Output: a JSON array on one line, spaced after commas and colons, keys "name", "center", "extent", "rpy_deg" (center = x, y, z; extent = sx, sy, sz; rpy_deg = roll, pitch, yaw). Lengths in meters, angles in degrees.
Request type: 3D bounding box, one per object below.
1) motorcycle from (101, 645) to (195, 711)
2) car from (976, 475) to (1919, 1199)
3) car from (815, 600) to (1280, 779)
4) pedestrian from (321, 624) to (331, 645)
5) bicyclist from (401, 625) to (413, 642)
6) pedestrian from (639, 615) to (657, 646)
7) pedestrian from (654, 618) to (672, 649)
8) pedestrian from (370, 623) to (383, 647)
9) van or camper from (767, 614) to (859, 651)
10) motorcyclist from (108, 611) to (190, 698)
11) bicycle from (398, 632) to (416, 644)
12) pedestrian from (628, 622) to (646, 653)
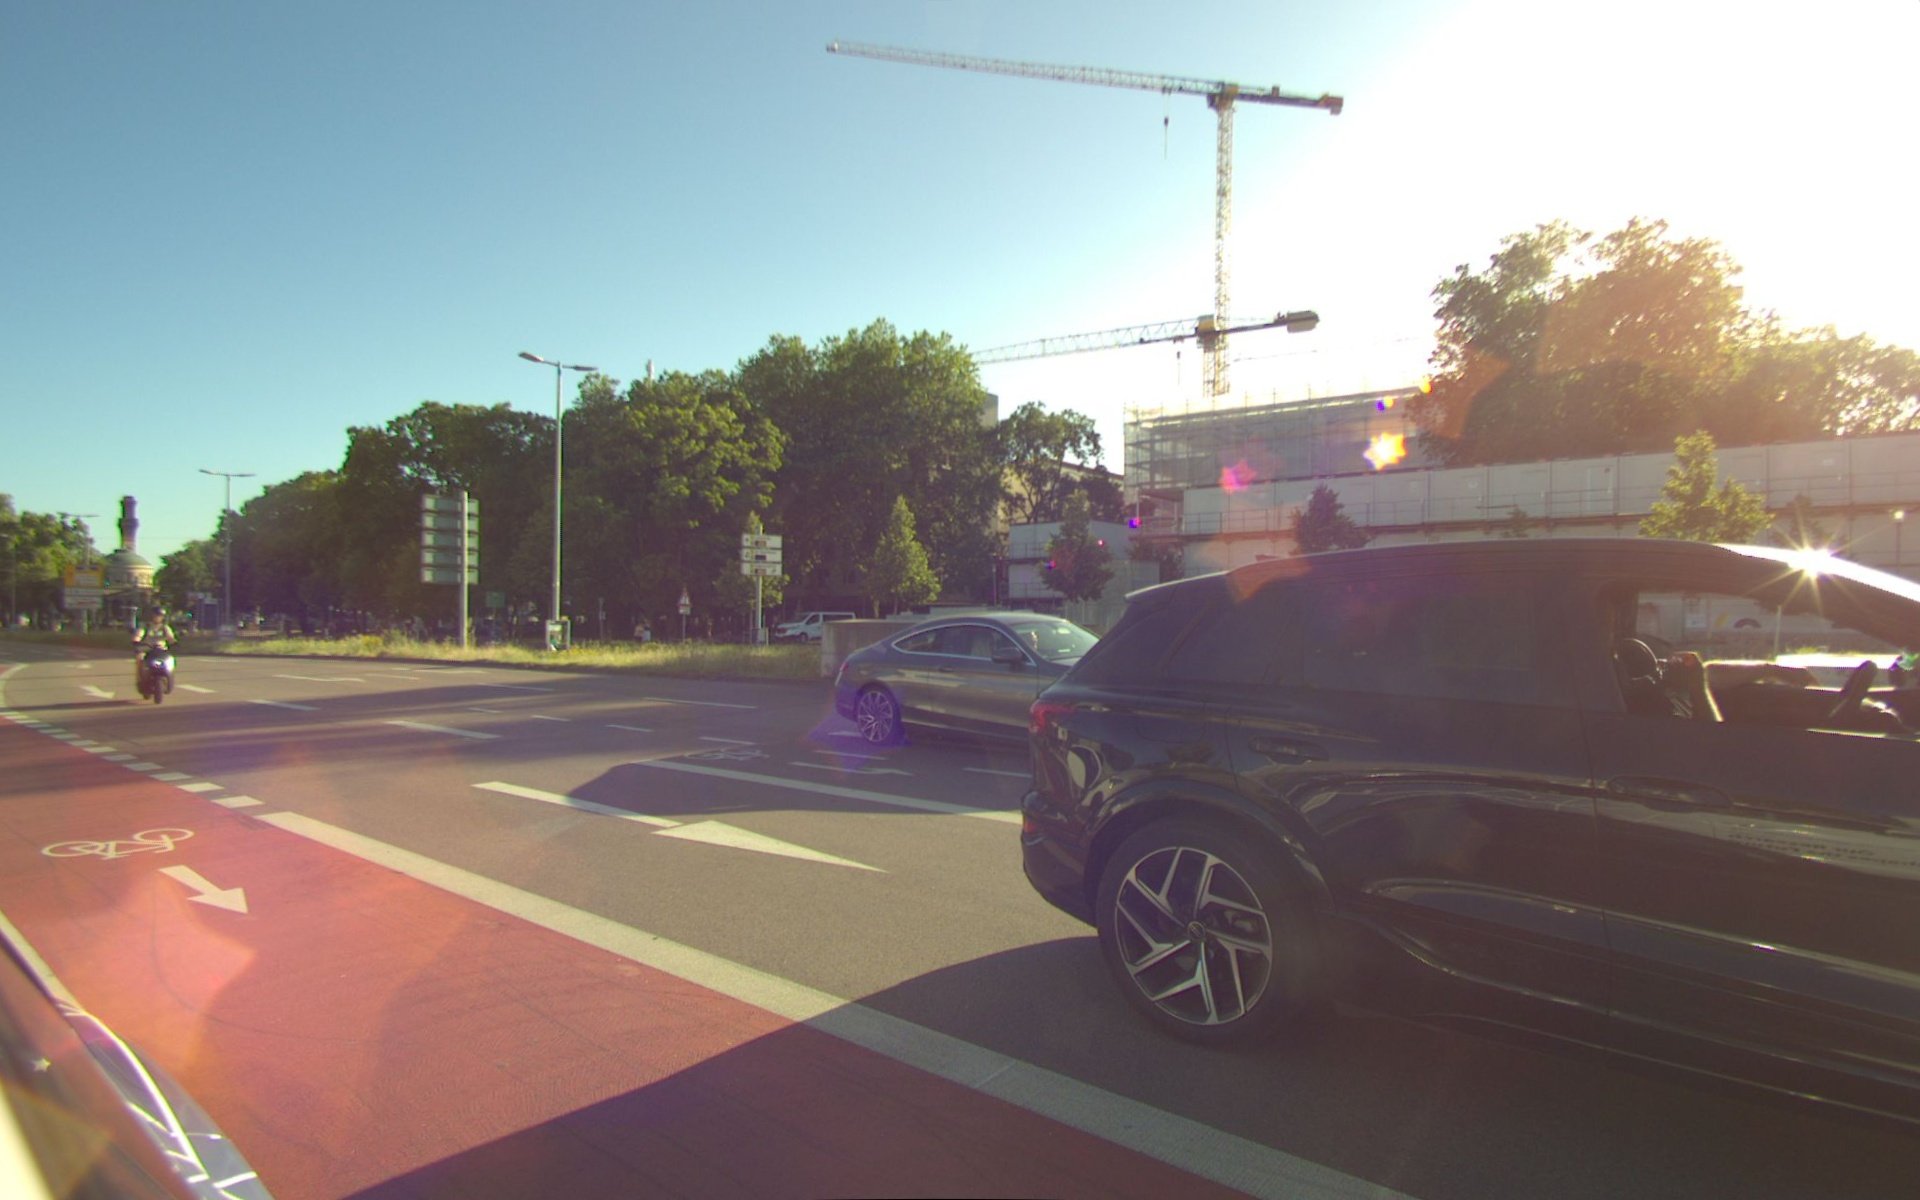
[{"name": "motorcycle", "center": [-14.189, 1.324, 17.660], "extent": [2.267, 1.022, 0.961], "rpy_deg": [-1, -1, 43]}, {"name": "car", "center": [2.451, 0.571, 3.104], "extent": [4.610, 1.656, 1.914], "rpy_deg": [-1, -1, 38]}, {"name": "car", "center": [0.727, 0.761, 10.418], "extent": [4.487, 1.417, 1.972], "rpy_deg": [-1, 0, 42]}, {"name": "pedestrian", "center": [-56.303, 3.024, 89.912], "extent": [0.733, 1.862, 0.561], "rpy_deg": [-1, -2, 40]}, {"name": "bicyclist", "center": [-42.213, 2.563, 77.230], "extent": [0.714, 1.291, 0.603], "rpy_deg": [-1, -2, 40]}, {"name": "pedestrian", "center": [-17.651, 1.719, 57.299], "extent": [0.762, 1.738, 0.656], "rpy_deg": [-2, -2, 41]}, {"name": "pedestrian", "center": [-17.066, 1.931, 58.186], "extent": [0.762, 1.738, 0.697], "rpy_deg": [-2, -2, 43]}, {"name": "pedestrian", "center": [-47.016, 2.815, 81.567], "extent": [0.924, 1.862, 0.620], "rpy_deg": [-1, -2, 40]}, {"name": "van or camper", "center": [-8.936, 1.955, 61.945], "extent": [1.948, 2.029, 5.576], "rpy_deg": [-1, 0, 42]}, {"name": "motorcyclist", "center": [-14.062, 0.920, 17.542], "extent": [1.059, 1.424, 0.961], "rpy_deg": [-1, -1, 43]}, {"name": "bicycle", "center": [-42.215, 2.908, 77.220], "extent": [1.744, 0.849, 0.602], "rpy_deg": [-1, -2, 40]}, {"name": "pedestrian", "center": [-18.085, 2.097, 56.650], "extent": [0.762, 1.738, 0.698], "rpy_deg": [-2, -2, 41]}]
